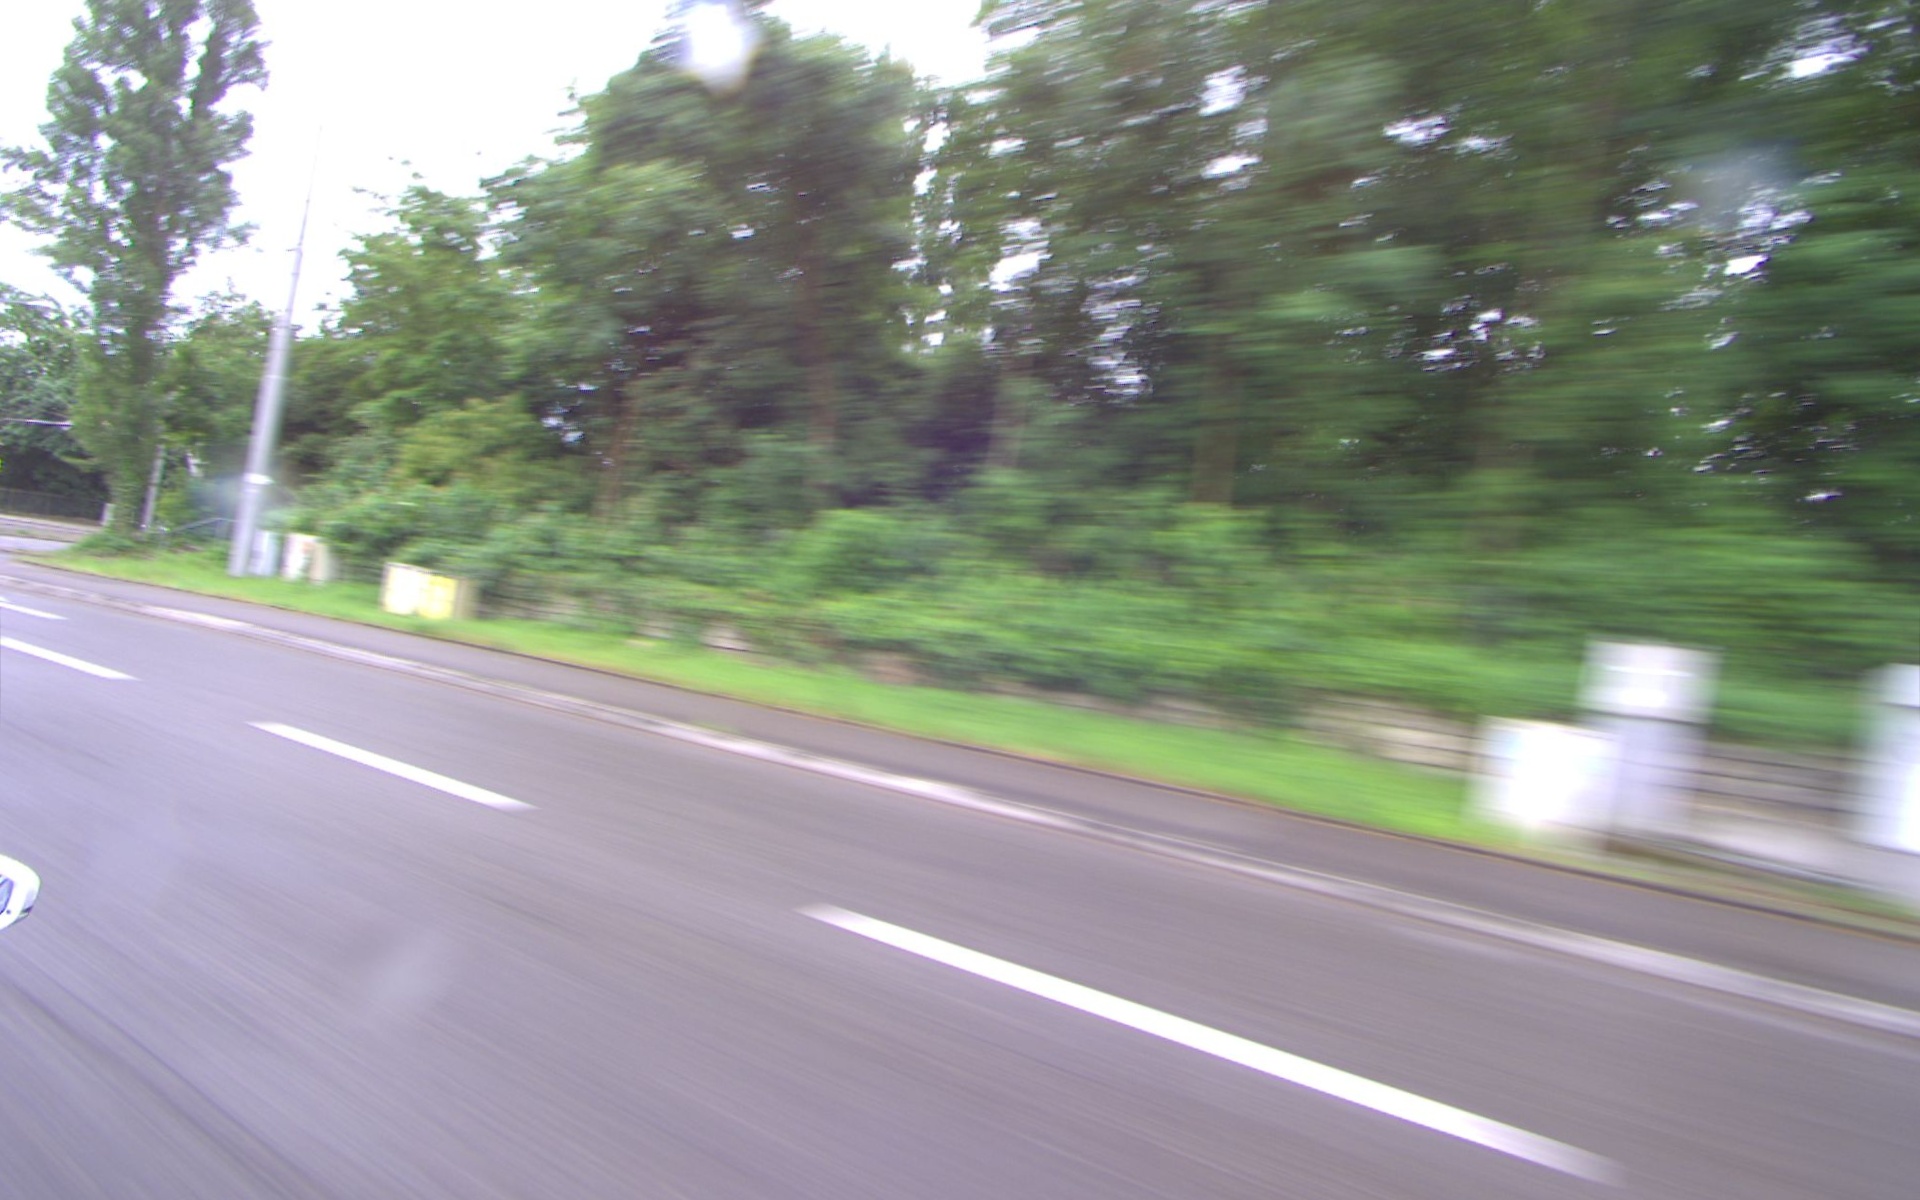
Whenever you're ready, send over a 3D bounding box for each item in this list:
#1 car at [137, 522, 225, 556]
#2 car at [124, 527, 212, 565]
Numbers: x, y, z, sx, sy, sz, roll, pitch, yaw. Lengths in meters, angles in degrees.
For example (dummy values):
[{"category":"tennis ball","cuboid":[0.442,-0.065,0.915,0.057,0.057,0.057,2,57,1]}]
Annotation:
[{"category":"car","cuboid":[-49.666,-3.868,64.239,1.962,1.471,4.268,6,-3,4]},{"category":"car","cuboid":[-50.732,-3.407,64.531,1.962,1.754,4.268,6,-3,4]}]
